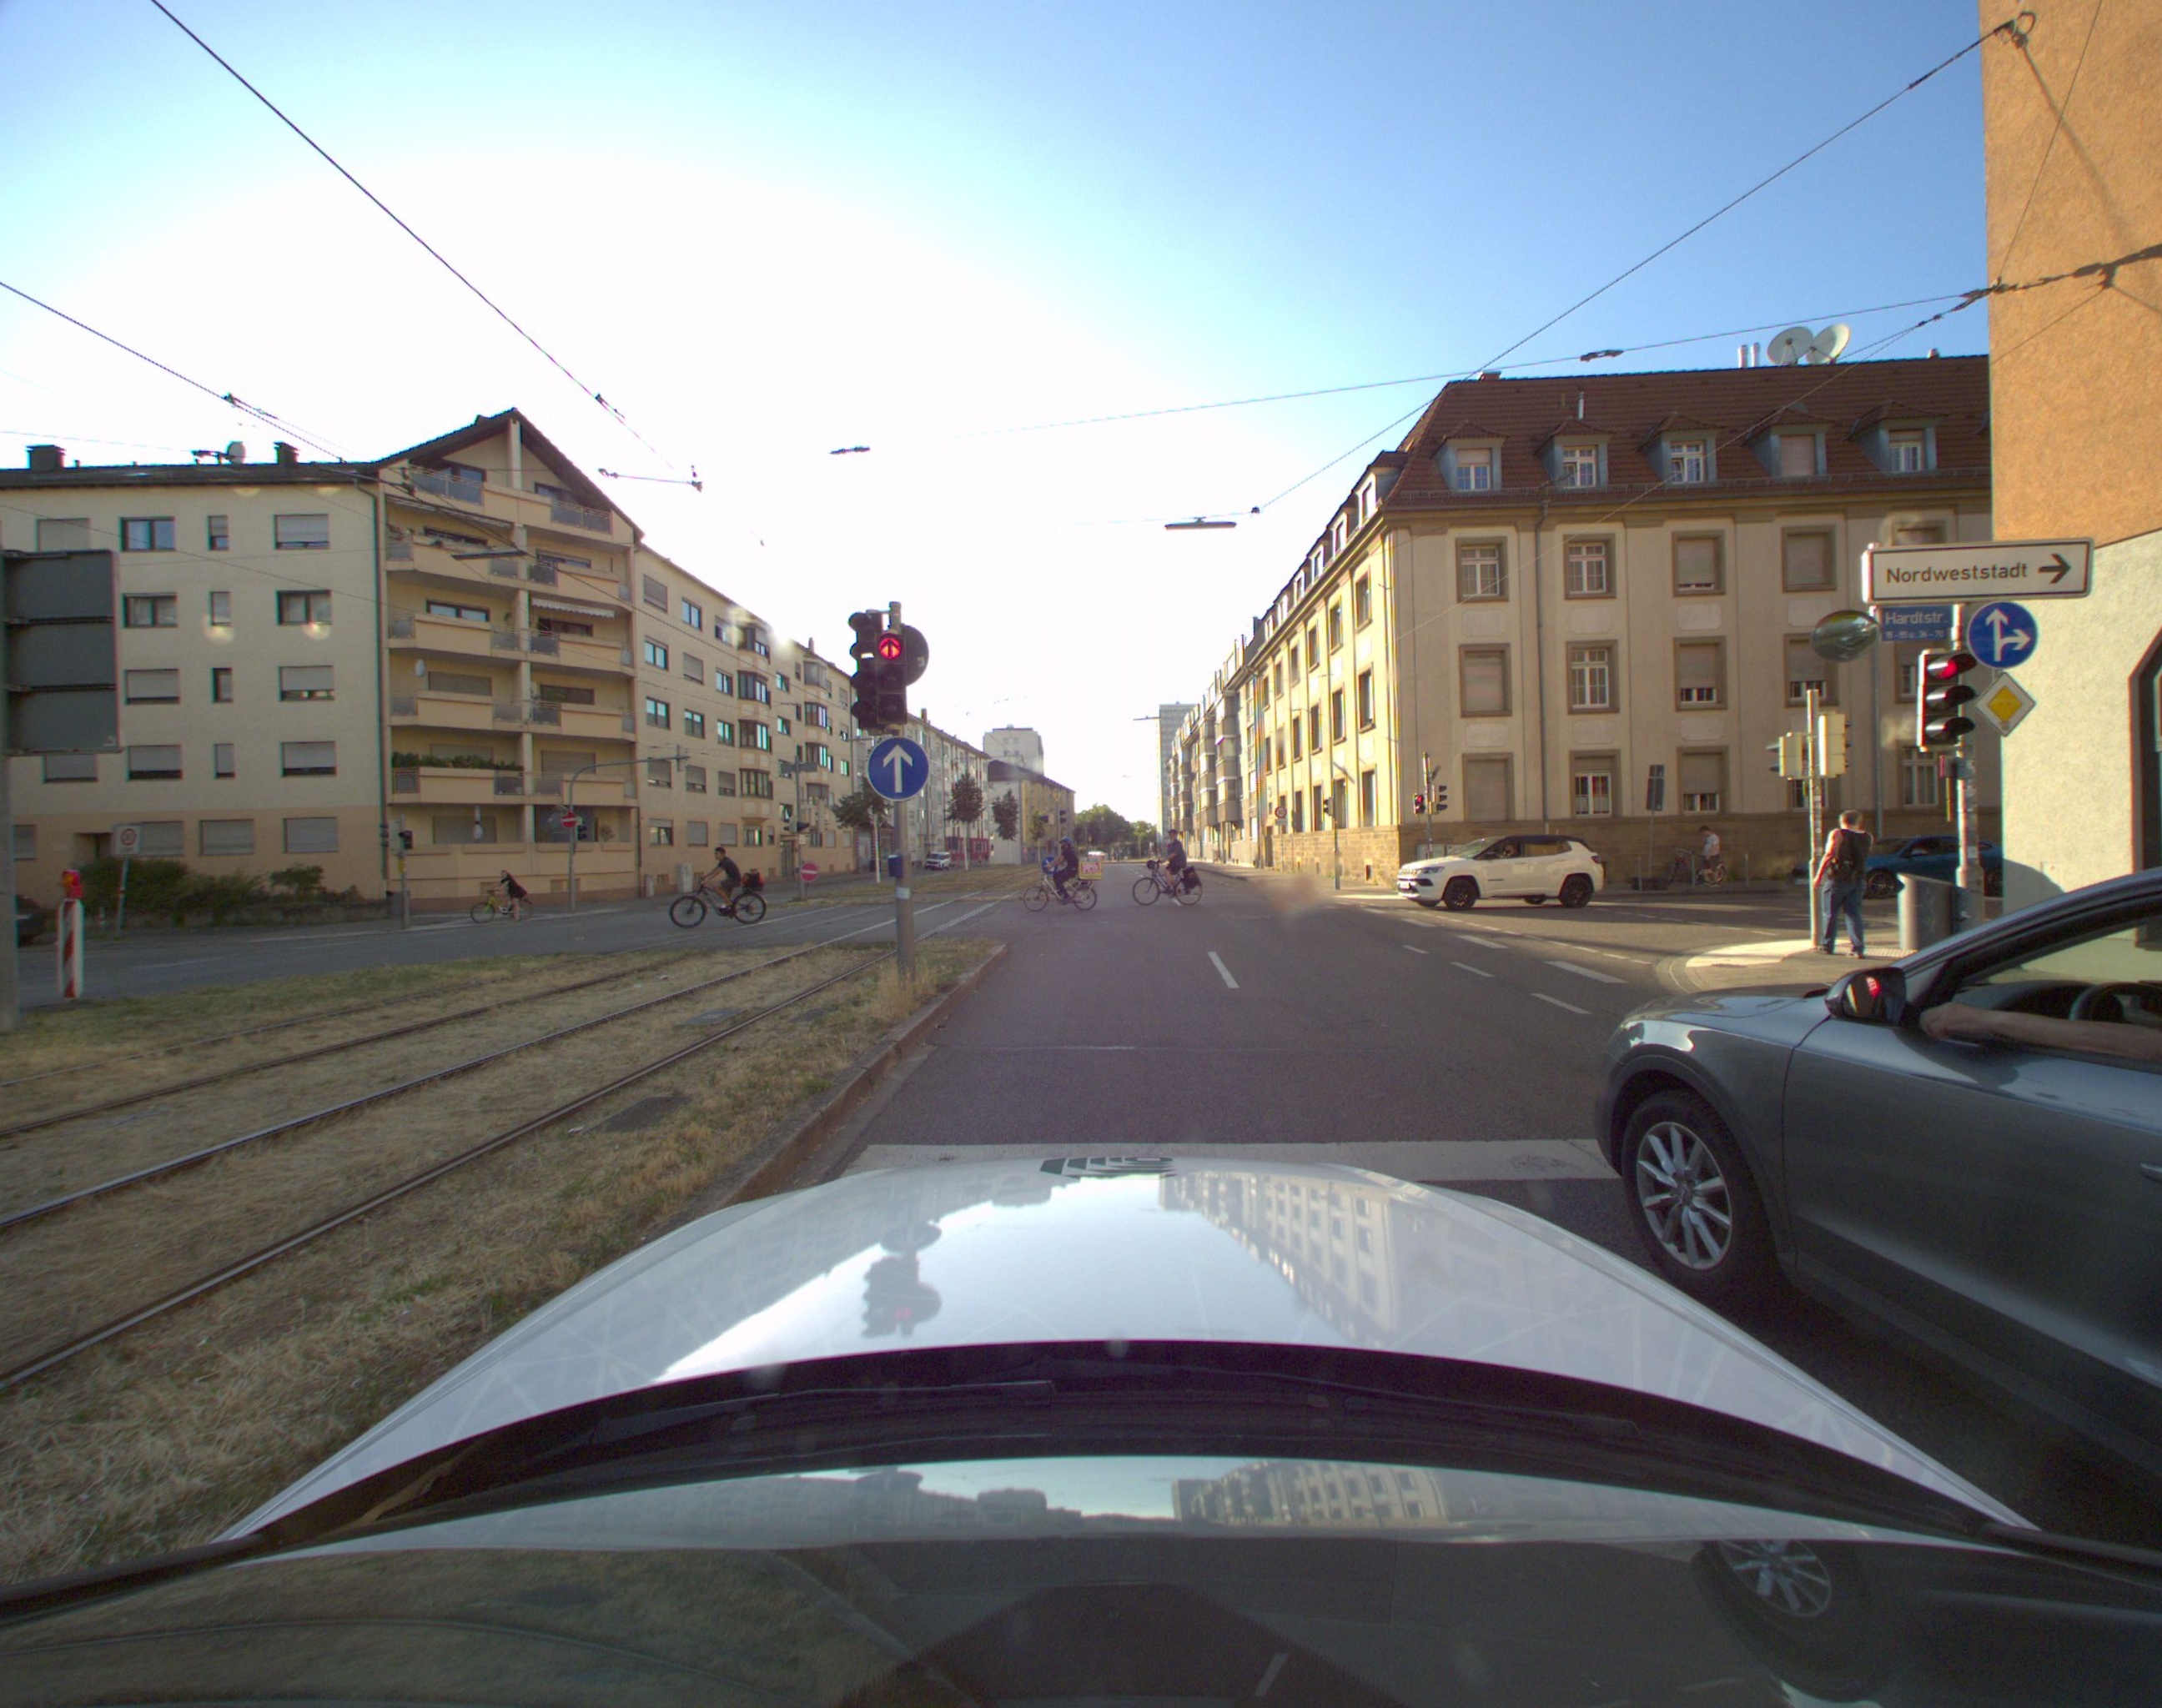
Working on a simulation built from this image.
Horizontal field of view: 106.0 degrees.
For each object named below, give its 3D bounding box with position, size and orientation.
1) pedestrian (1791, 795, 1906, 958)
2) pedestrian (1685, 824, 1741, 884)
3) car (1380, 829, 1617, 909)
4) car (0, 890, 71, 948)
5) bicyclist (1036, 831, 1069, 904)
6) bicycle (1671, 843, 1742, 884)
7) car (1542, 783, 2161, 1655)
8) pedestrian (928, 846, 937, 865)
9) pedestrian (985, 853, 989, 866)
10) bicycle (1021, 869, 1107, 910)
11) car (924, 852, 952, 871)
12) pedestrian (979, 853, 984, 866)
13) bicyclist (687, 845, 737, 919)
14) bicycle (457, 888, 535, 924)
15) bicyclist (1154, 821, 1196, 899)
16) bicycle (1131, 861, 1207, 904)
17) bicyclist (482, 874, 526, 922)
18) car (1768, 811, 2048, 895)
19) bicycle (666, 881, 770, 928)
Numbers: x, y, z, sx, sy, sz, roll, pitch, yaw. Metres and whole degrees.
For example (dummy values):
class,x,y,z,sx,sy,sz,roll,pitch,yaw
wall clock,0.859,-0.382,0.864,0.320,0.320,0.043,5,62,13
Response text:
class,x,y,z,sx,sy,sz,roll,pitch,yaw
pedestrian,9.151,0.261,9.738,0.690,1.875,0.718,0,-1,1
pedestrian,18.111,-0.001,23.344,1.033,1.682,0.669,-2,0,1
car,9.446,0.319,18.677,4.406,1.641,1.999,-1,0,-2
car,-30.152,1.799,21.635,3.956,1.440,1.785,-2,0,-9
bicyclist,-0.690,0.320,19.989,0.791,1.753,0.720,0,-1,0
bicycle,18.454,0.276,24.041,1.556,1.117,0.669,-2,0,2
car,2.809,0.632,1.419,1.763,1.575,4.087,-2,0,2
pedestrian,-15.823,0.188,86.636,0.784,2.013,0.890,-2,0,-2
pedestrian,-12.682,0.740,109.751,0.493,1.658,0.409,-2,0,2
bicycle,-0.401,0.860,19.978,2.066,0.958,0.746,0,0,-1
car,-14.404,0.762,82.104,1.804,1.798,4.248,0,-1,3
pedestrian,-13.333,0.765,109.358,0.493,1.658,0.409,-2,0,2
bicyclist,-7.873,0.580,17.388,0.907,1.526,0.643,-2,0,-24
bicycle,-18.215,1.613,25.414,0.522,0.984,1.895,-2,0,32
bicyclist,2.453,0.163,21.419,0.957,1.988,0.672,-2,0,-1
bicycle,2.303,0.739,21.511,1.938,1.094,0.575,-1,0,-1
bicyclist,-18.123,1.360,25.577,0.522,1.447,0.971,-2,0,32
car,18.965,-0.010,18.843,4.446,1.729,1.999,-2,-1,-1
bicycle,-7.751,1.063,17.449,1.988,0.894,0.780,-1,0,-25
